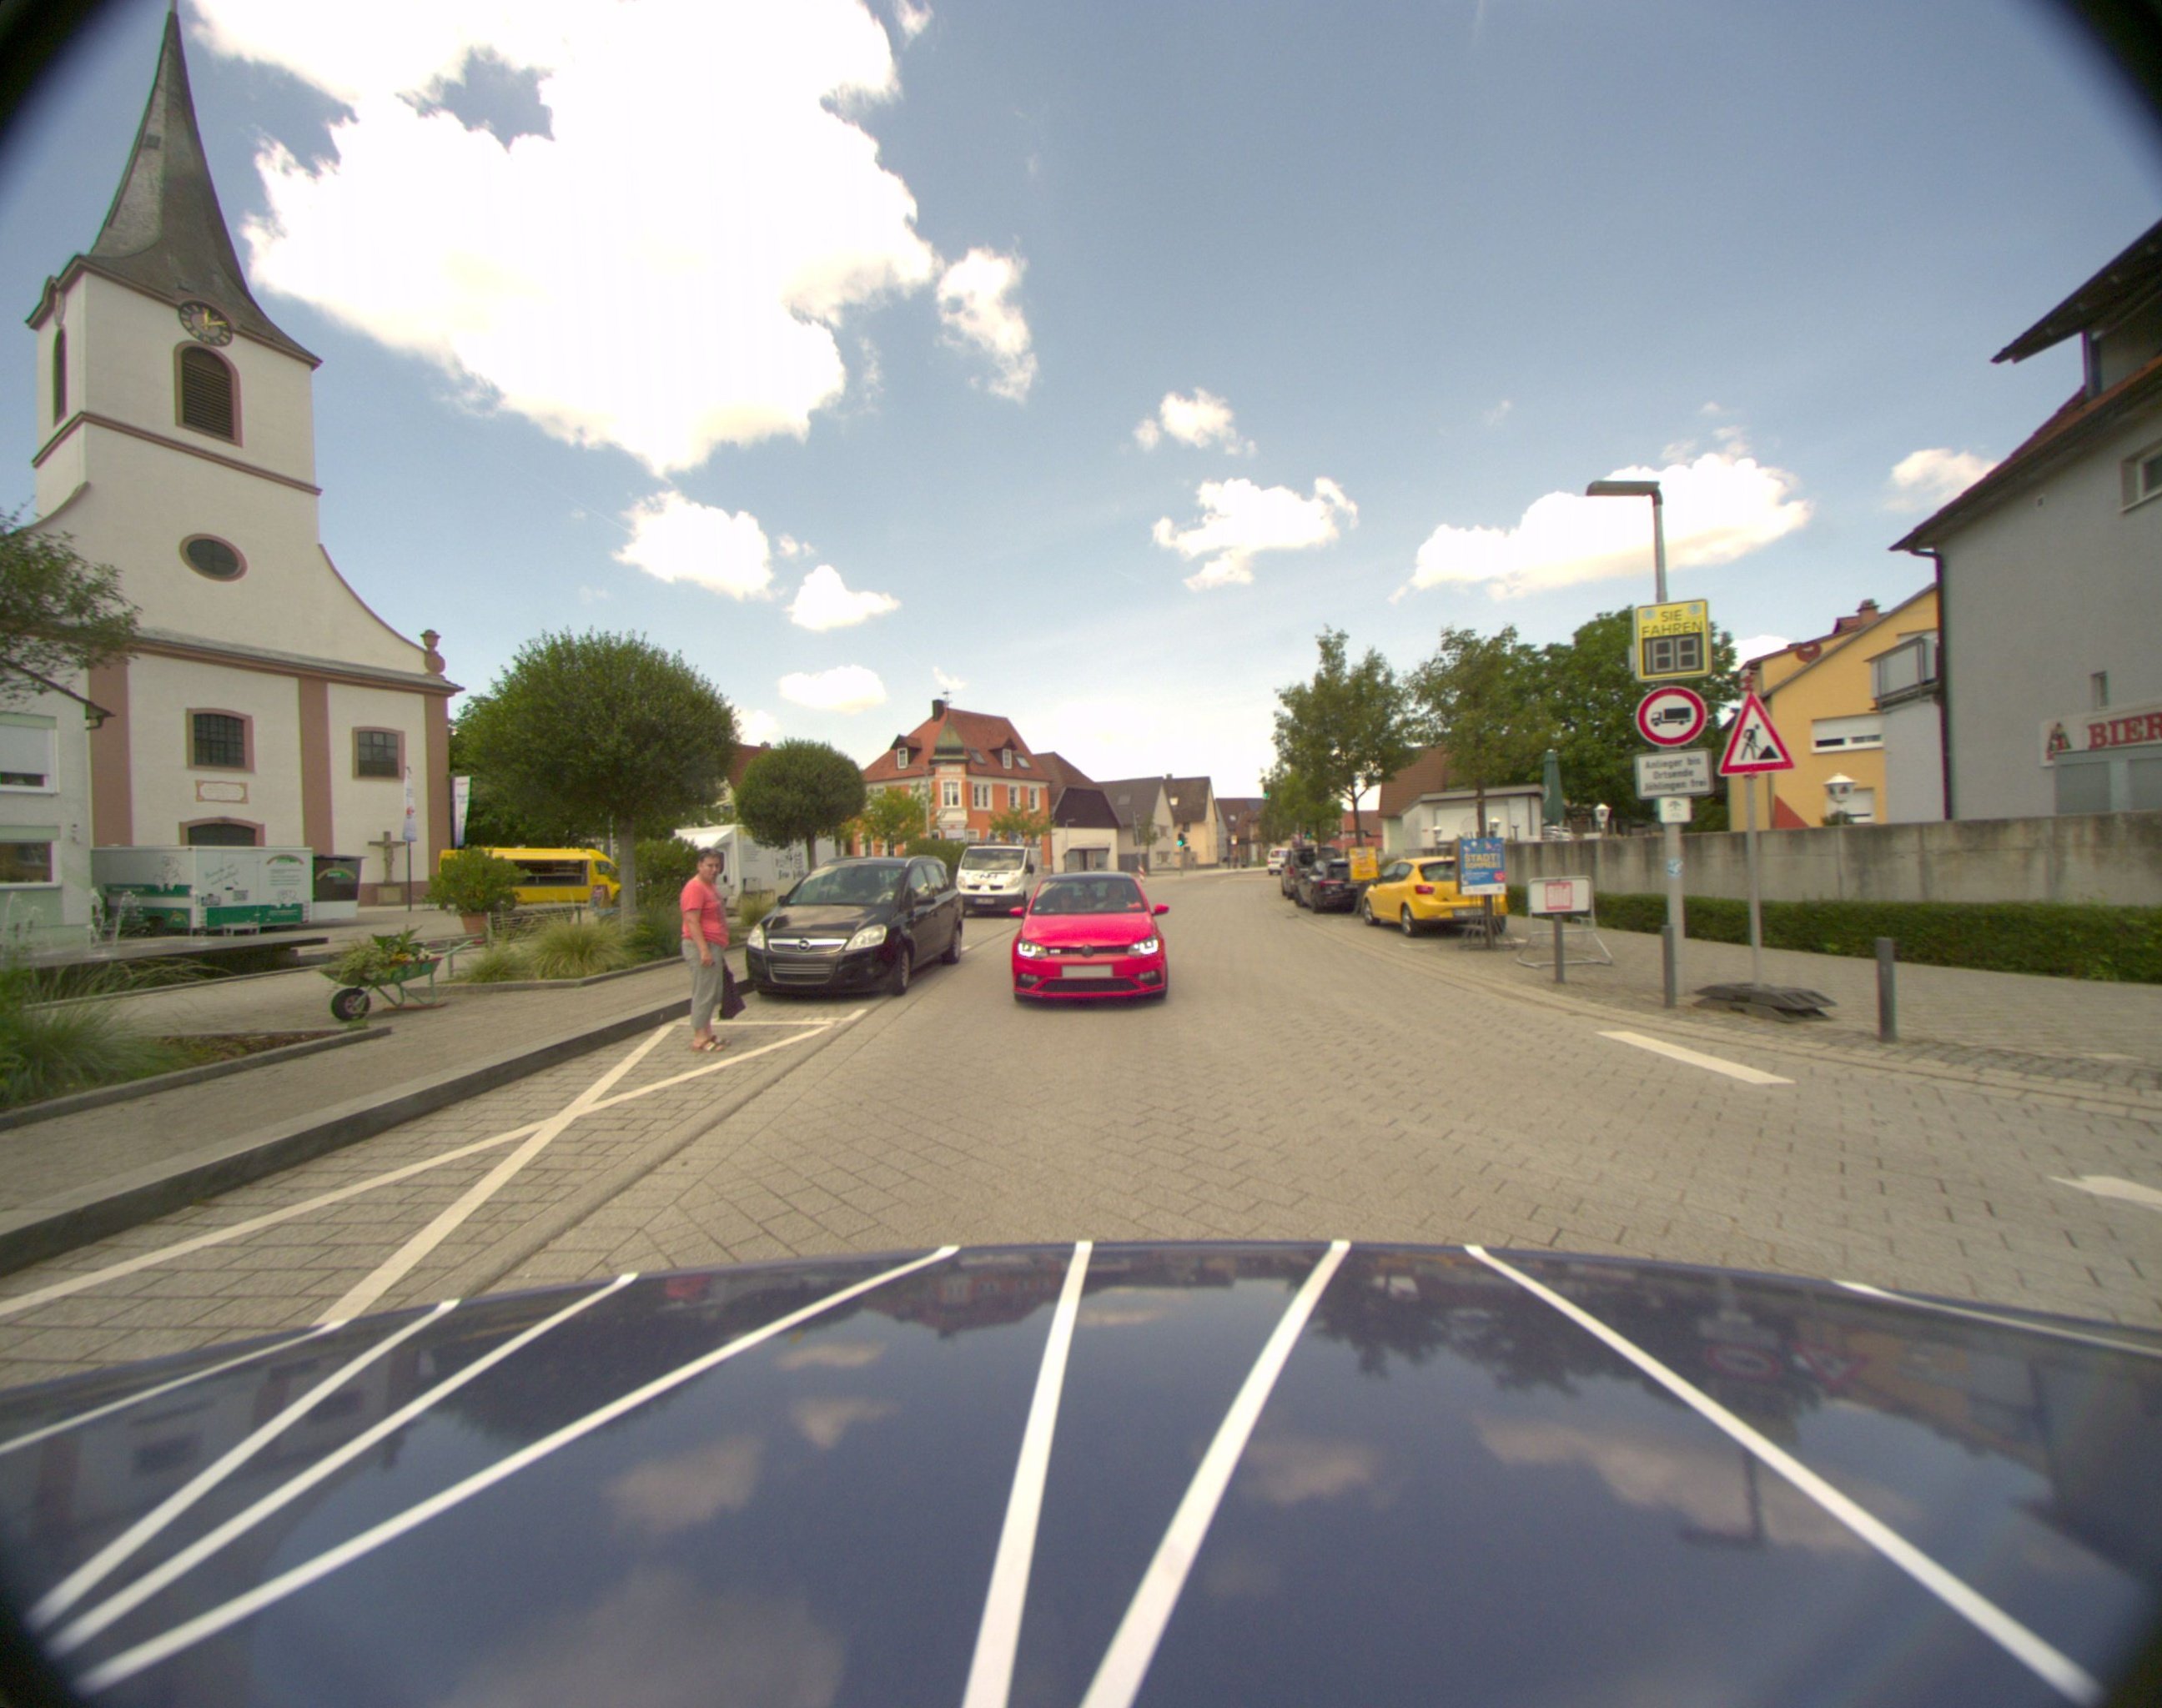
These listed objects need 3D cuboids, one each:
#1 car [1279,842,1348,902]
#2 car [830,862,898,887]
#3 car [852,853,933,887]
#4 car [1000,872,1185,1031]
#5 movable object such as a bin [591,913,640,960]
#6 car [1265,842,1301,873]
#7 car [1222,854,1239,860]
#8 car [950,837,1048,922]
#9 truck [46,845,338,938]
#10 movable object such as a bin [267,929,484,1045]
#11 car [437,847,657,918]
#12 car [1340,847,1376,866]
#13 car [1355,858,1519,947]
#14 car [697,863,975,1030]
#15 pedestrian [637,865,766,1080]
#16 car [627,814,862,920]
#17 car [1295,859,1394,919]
[{"bbox_3d":[8.566,0.617,28.381,1.989,1.978,5.049,-2,0,12],"label":"car"},{"bbox_3d":[-14.500,1.338,50.955,1.620,1.475,4.730,-2,0,25],"label":"car"},{"bbox_3d":[-12.023,0.996,48.949,1.995,2.002,5.504,-2,0,25],"label":"car"},{"bbox_3d":[0.169,1.007,9.432,1.782,1.403,3.888,-2,0,2],"label":"car"},{"bbox_3d":[-7.778,1.371,12.701,0.566,0.728,0.391,-1,1,7],"label":"movable object such as a bin"},{"bbox_3d":[15.132,0.262,56.747,1.889,2.173,5.038,-1,0,22],"label":"car"},{"bbox_3d":[26.362,0.583,134.130,1.803,1.053,3.997,-1,0,-9],"label":"car"},{"bbox_3d":[-2.214,0.654,22.081,1.947,2.164,5.102,0,0,4],"label":"car"},{"bbox_3d":[-26.360,1.098,22.611,6.811,2.483,2.961,-2,0,15],"label":"truck"},{"bbox_3d":[-6.818,1.250,7.451,0.736,0.861,1.436,-2,0,1],"label":"movable object such as a bin"},{"bbox_3d":[-21.339,1.035,30.658,6.978,2.463,2.646,-2,0,-40],"label":"car"},{"bbox_3d":[23.837,0.202,65.290,1.733,1.482,4.509,-1,1,35],"label":"car"},{"bbox_3d":[6.742,0.831,14.868,1.671,1.466,3.965,-1,0,6],"label":"car"},{"bbox_3d":[-2.756,0.936,9.758,1.772,1.555,4.420,1,0,6],"label":"car"},{"bbox_3d":[-3.021,0.909,6.094,0.640,1.619,0.620,-1,1,6],"label":"pedestrian"},{"bbox_3d":[-10.621,0.317,24.971,2.755,2.946,7.123,-1,1,21],"label":"car"},{"bbox_3d":[7.177,0.886,21.147,1.819,1.415,4.540,-2,0,9],"label":"car"}]
